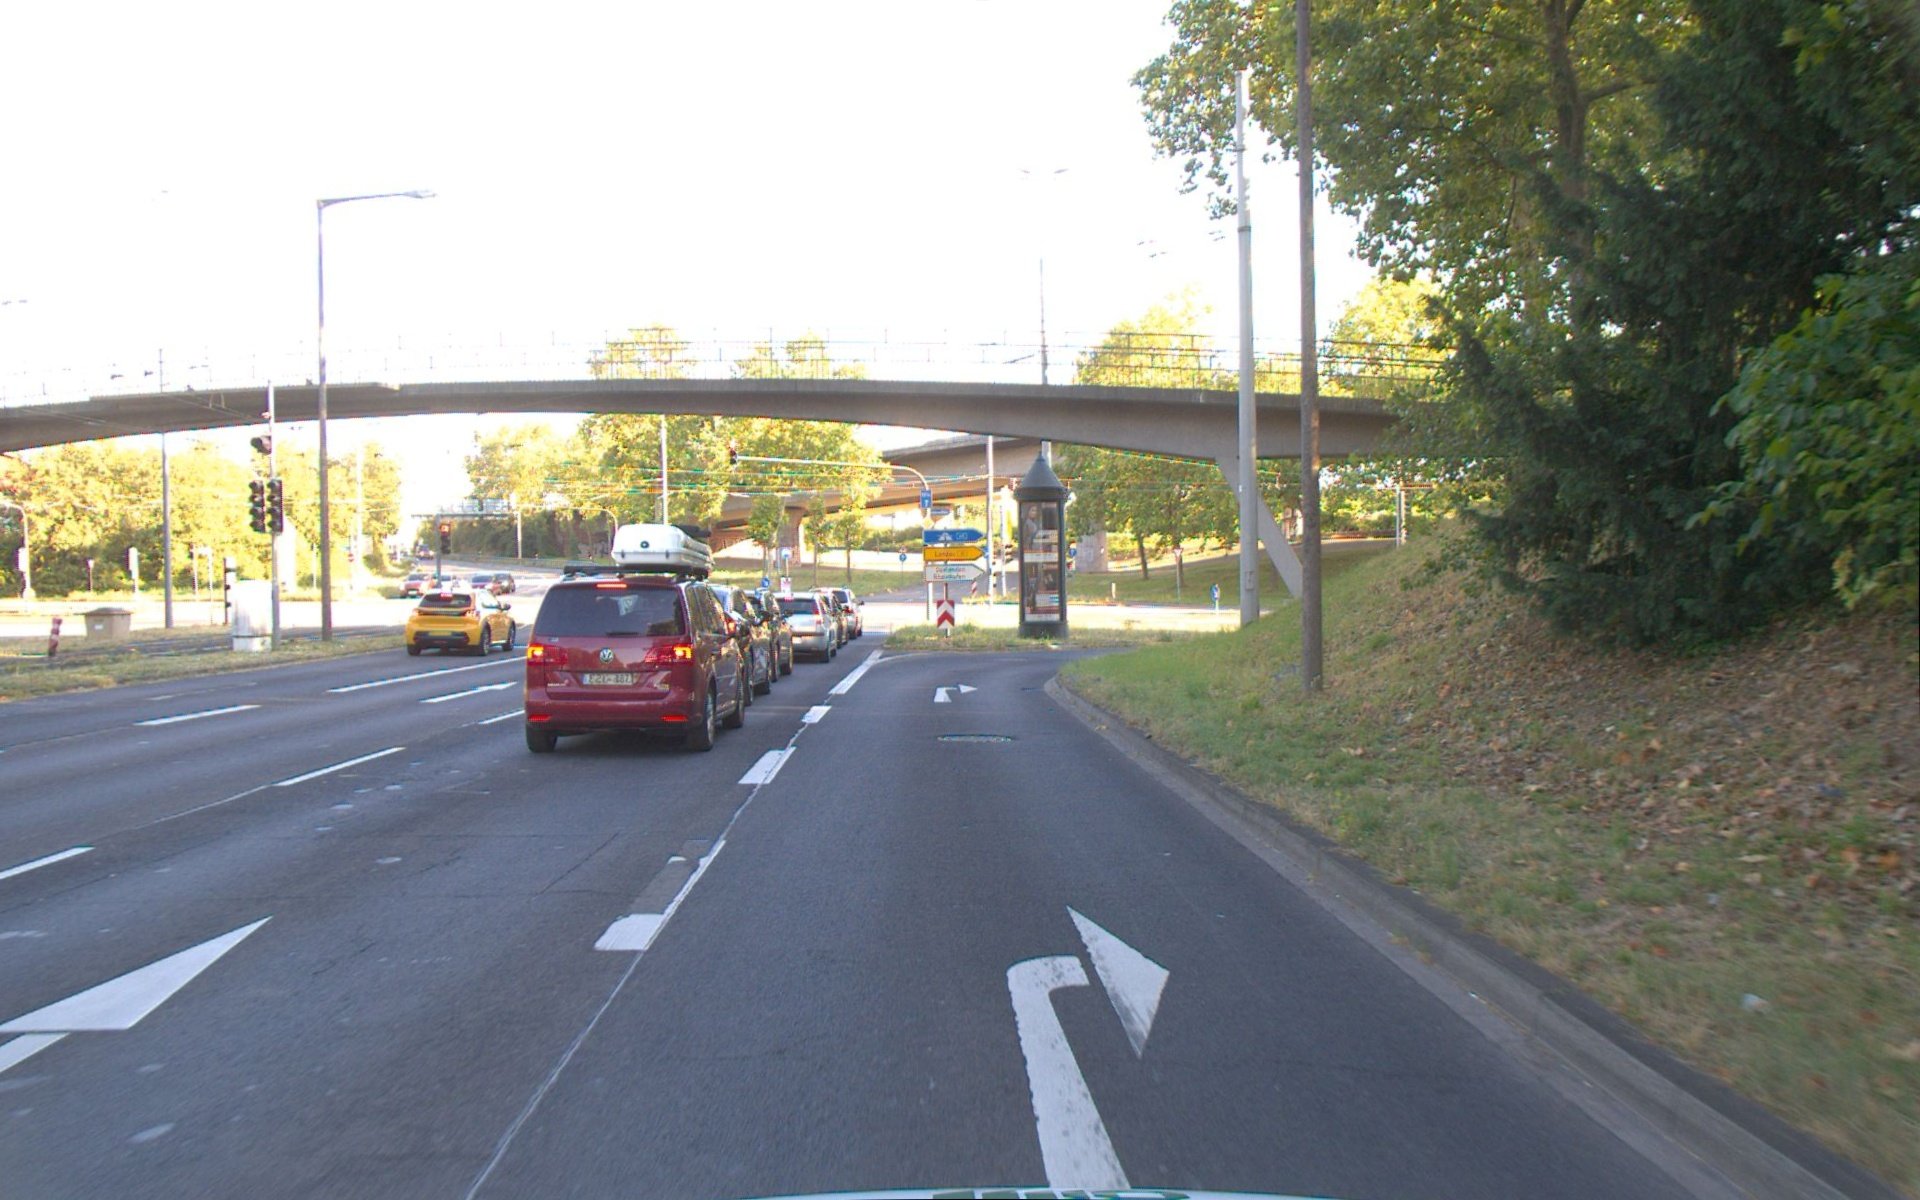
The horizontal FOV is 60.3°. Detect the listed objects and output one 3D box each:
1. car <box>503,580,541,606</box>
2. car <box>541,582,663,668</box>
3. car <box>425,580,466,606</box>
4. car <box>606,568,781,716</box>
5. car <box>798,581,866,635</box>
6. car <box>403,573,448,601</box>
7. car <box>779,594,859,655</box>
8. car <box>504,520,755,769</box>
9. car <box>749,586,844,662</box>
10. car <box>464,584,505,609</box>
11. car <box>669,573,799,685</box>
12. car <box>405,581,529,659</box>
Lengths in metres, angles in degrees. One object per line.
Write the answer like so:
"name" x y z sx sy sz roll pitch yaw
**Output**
"car" -31.666 -0.514 119.655 1.841 1.802 3.998 0 1 -3
"car" -7.360 0.456 34.366 1.629 1.592 4.190 -2 1 -1
"car" -36.494 -0.528 117.421 1.841 1.802 3.998 0 1 -3
"car" -3.579 0.494 22.915 1.756 1.780 4.240 -2 1 -1
"car" -3.806 0.214 49.702 1.756 1.467 3.999 -2 1 -1
"car" -35.590 -0.860 110.122 1.841 1.802 3.998 0 1 -3
"car" -3.656 0.600 43.541 1.756 1.407 4.475 -2 1 -1
"car" -3.180 0.361 16.703 1.756 2.141 3.999 -2 1 -2
"car" -3.597 0.492 37.002 1.756 1.507 3.999 -2 1 -1
"car" -32.396 -0.257 112.748 1.841 1.602 3.673 0 1 -3
"car" -3.914 0.448 29.261 1.756 1.780 3.999 -2 1 -1
"car" -11.137 0.398 37.613 1.629 1.592 3.999 -2 1 -1
